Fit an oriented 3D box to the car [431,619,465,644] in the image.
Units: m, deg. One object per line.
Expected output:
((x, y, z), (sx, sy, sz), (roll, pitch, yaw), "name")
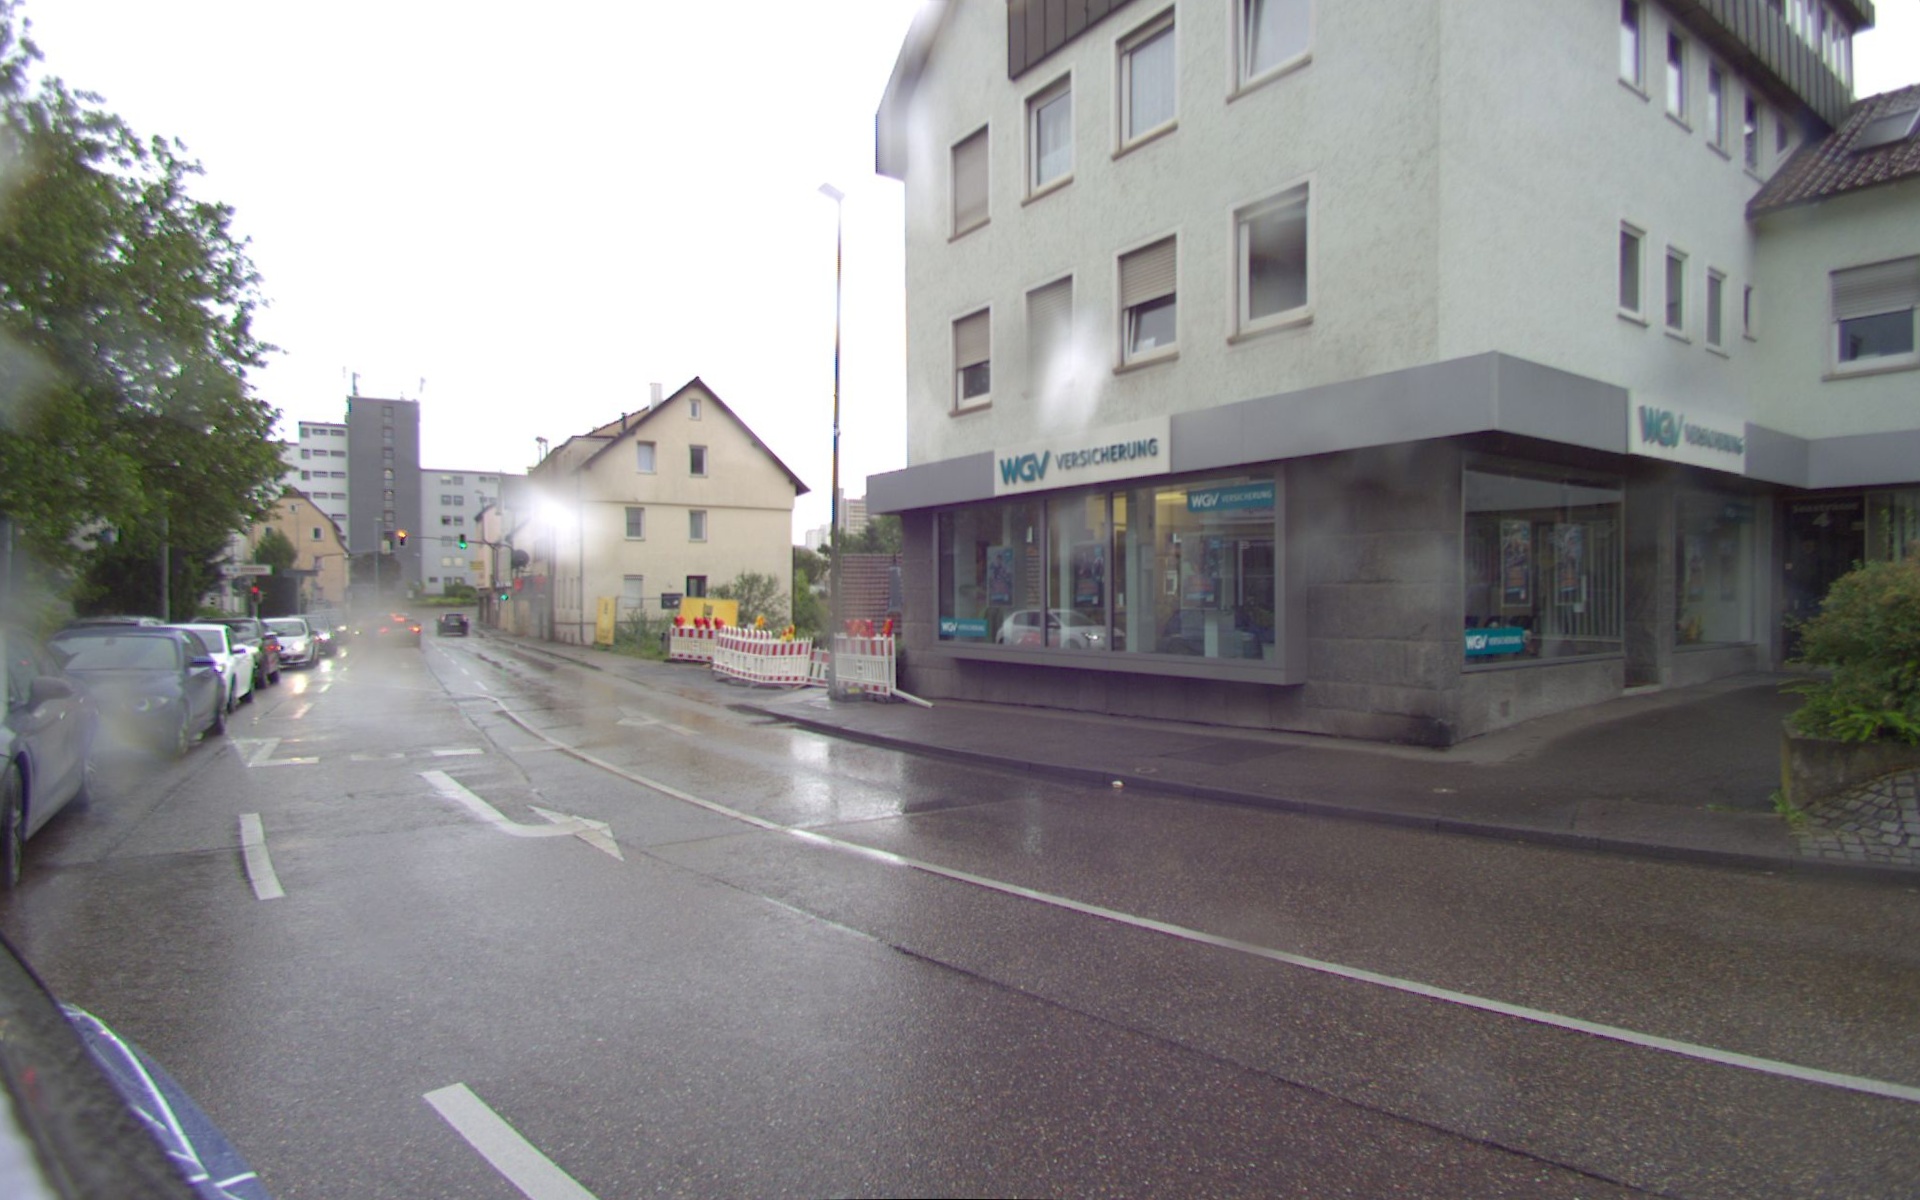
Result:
((-33.572, 2.034, 66.315), (1.783, 1.577, 4.012), (0, -1, -29), "car")

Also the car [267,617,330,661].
((-25.863, 1.499, 39.676), (1.802, 1.563, 4.012), (-2, 0, -30), "car")

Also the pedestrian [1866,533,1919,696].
((10.961, 0.156, 11.656), (0.608, 1.833, 0.674), (-1, 0, -41), "pedestrian")

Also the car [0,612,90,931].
((-6.592, 0.862, 5.939), (1.968, 1.504, 4.323), (-1, -1, -37), "car")

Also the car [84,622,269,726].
((-13.155, 1.148, 17.253), (1.966, 1.464, 4.012), (-2, 0, -30), "car")

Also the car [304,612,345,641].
((-34.709, 1.422, 55.257), (1.823, 1.489, 4.011), (-1, -1, -32), "car")

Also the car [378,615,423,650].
((-26.992, 1.542, 48.773), (1.783, 1.577, 4.012), (-2, 0, -30), "car")

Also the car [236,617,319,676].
((-20.768, 1.351, 30.939), (1.814, 1.633, 4.012), (-1, -1, -30), "car")

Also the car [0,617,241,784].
((-9.725, 0.998, 11.799), (1.744, 1.544, 4.391), (-1, -1, -30), "car")

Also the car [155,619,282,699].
((-16.654, 1.247, 22.913), (1.783, 1.577, 4.012), (-2, 0, -29), "car")

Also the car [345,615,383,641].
((-40.528, 1.934, 68.742), (1.966, 1.564, 4.010), (1, -5, -34), "car")
